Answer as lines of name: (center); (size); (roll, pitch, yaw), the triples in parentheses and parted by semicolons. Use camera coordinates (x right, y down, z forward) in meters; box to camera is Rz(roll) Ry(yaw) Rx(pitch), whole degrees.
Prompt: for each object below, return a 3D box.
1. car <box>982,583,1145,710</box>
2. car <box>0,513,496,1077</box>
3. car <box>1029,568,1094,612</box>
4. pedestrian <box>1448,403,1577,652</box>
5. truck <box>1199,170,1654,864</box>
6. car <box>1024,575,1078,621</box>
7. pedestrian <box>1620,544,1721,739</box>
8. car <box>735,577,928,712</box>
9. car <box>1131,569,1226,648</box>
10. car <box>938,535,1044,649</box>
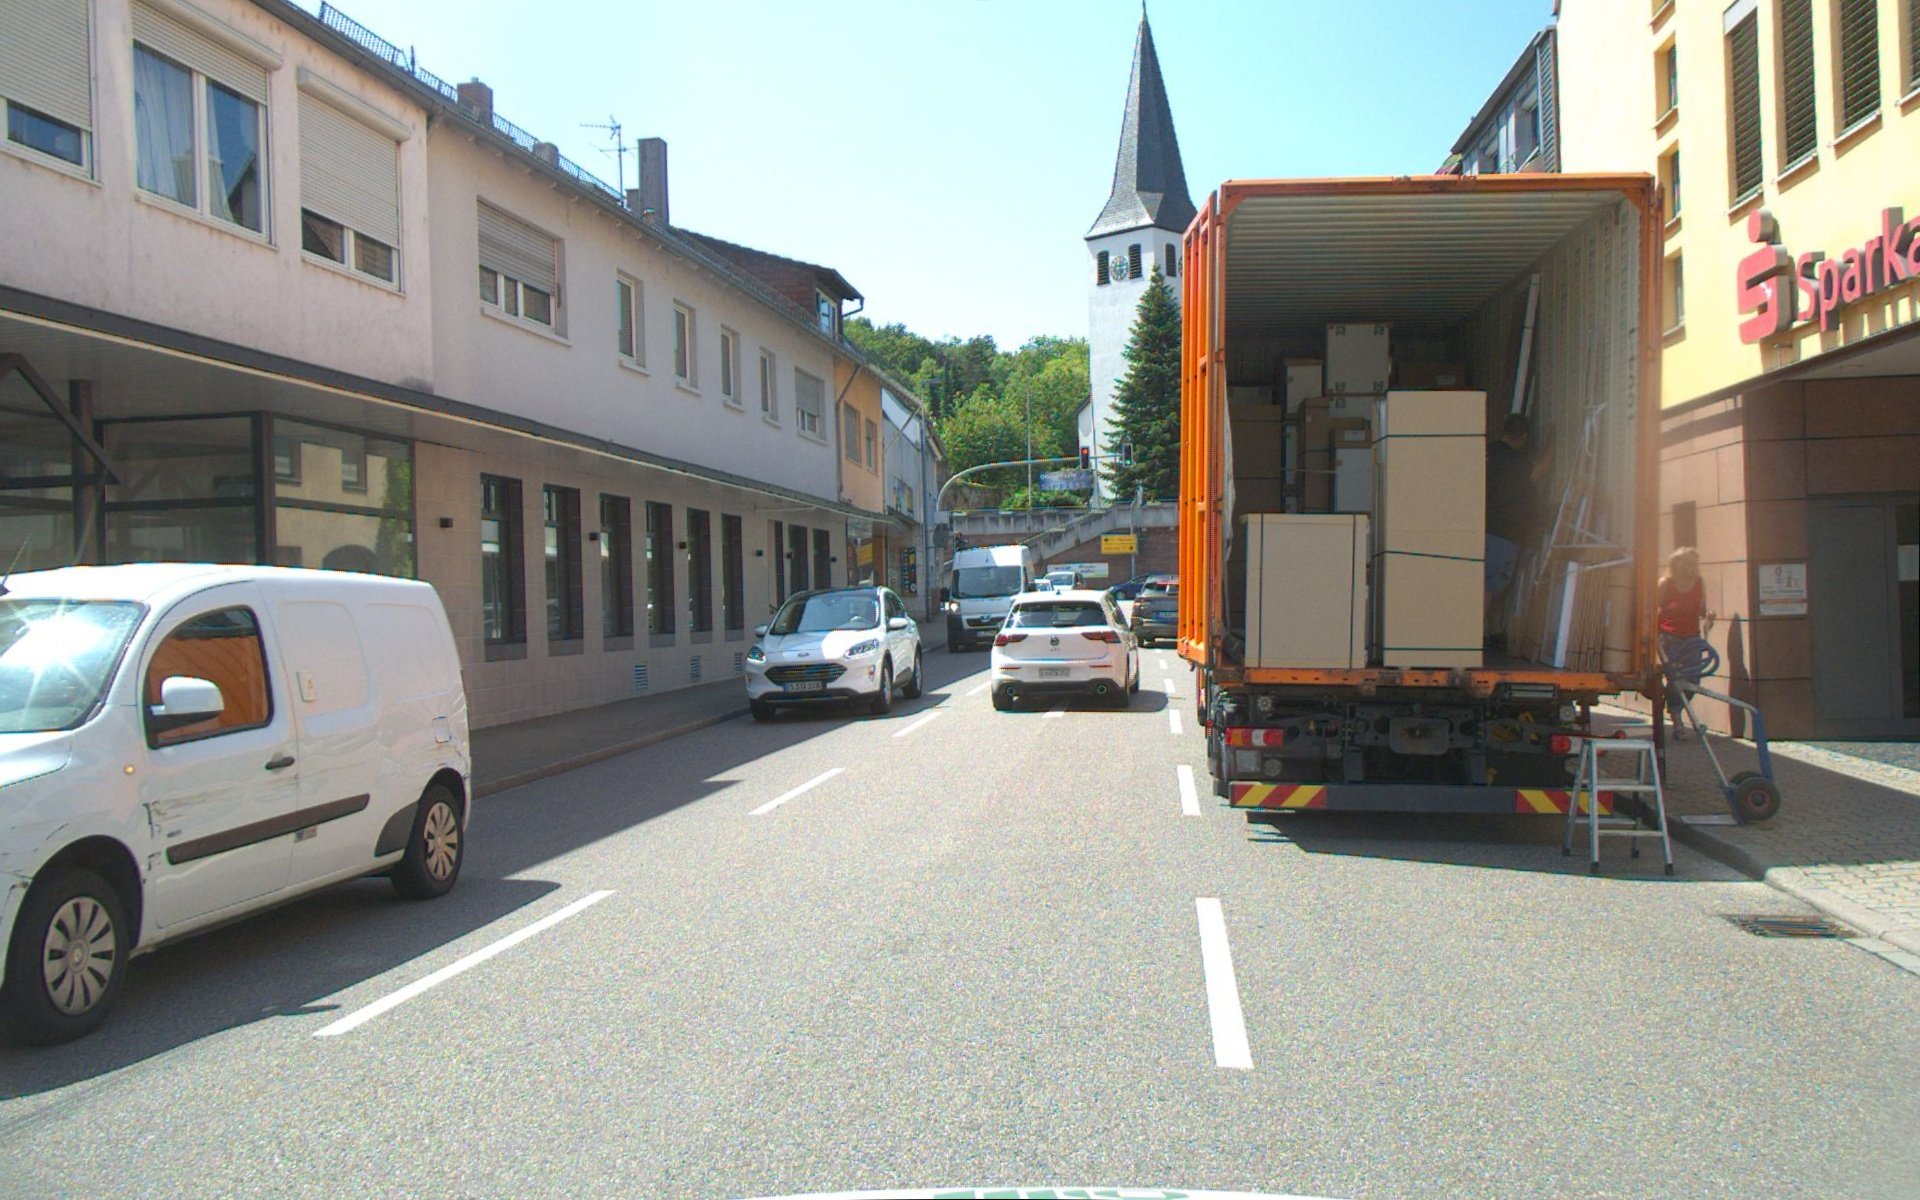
car: (1.456, 0.550, 21.801); (1.744, 1.483, 3.866); (-1, 0, 9)
car: (-3.858, 0.688, 7.463); (1.745, 1.862, 4.603); (-3, -1, 6)
car: (4.365, -0.432, 70.627); (1.644, 1.645, 3.823); (-3, 1, 20)
pedestrian: (4.112, -0.526, 12.368); (0.733, 1.787, 0.928); (1, -1, 7)
truck: (3.440, -0.622, 14.707); (2.553, 4.014, 10.002); (1, 2, 8)
car: (3.251, -0.097, 58.789); (1.563, 1.480, 3.450); (-4, 0, 8)
pedestrian: (6.289, 0.356, 14.667); (0.674, 1.682, 0.651); (1, -1, 9)
car: (-1.649, 0.570, 22.671); (1.780, 1.582, 4.201); (-4, -1, 6)
car: (5.096, 0.157, 38.981); (1.908, 1.609, 4.329); (-1, 2, 4)
car: (0.877, -0.222, 42.341); (2.095, 2.613, 5.398); (-3, 0, 6)
